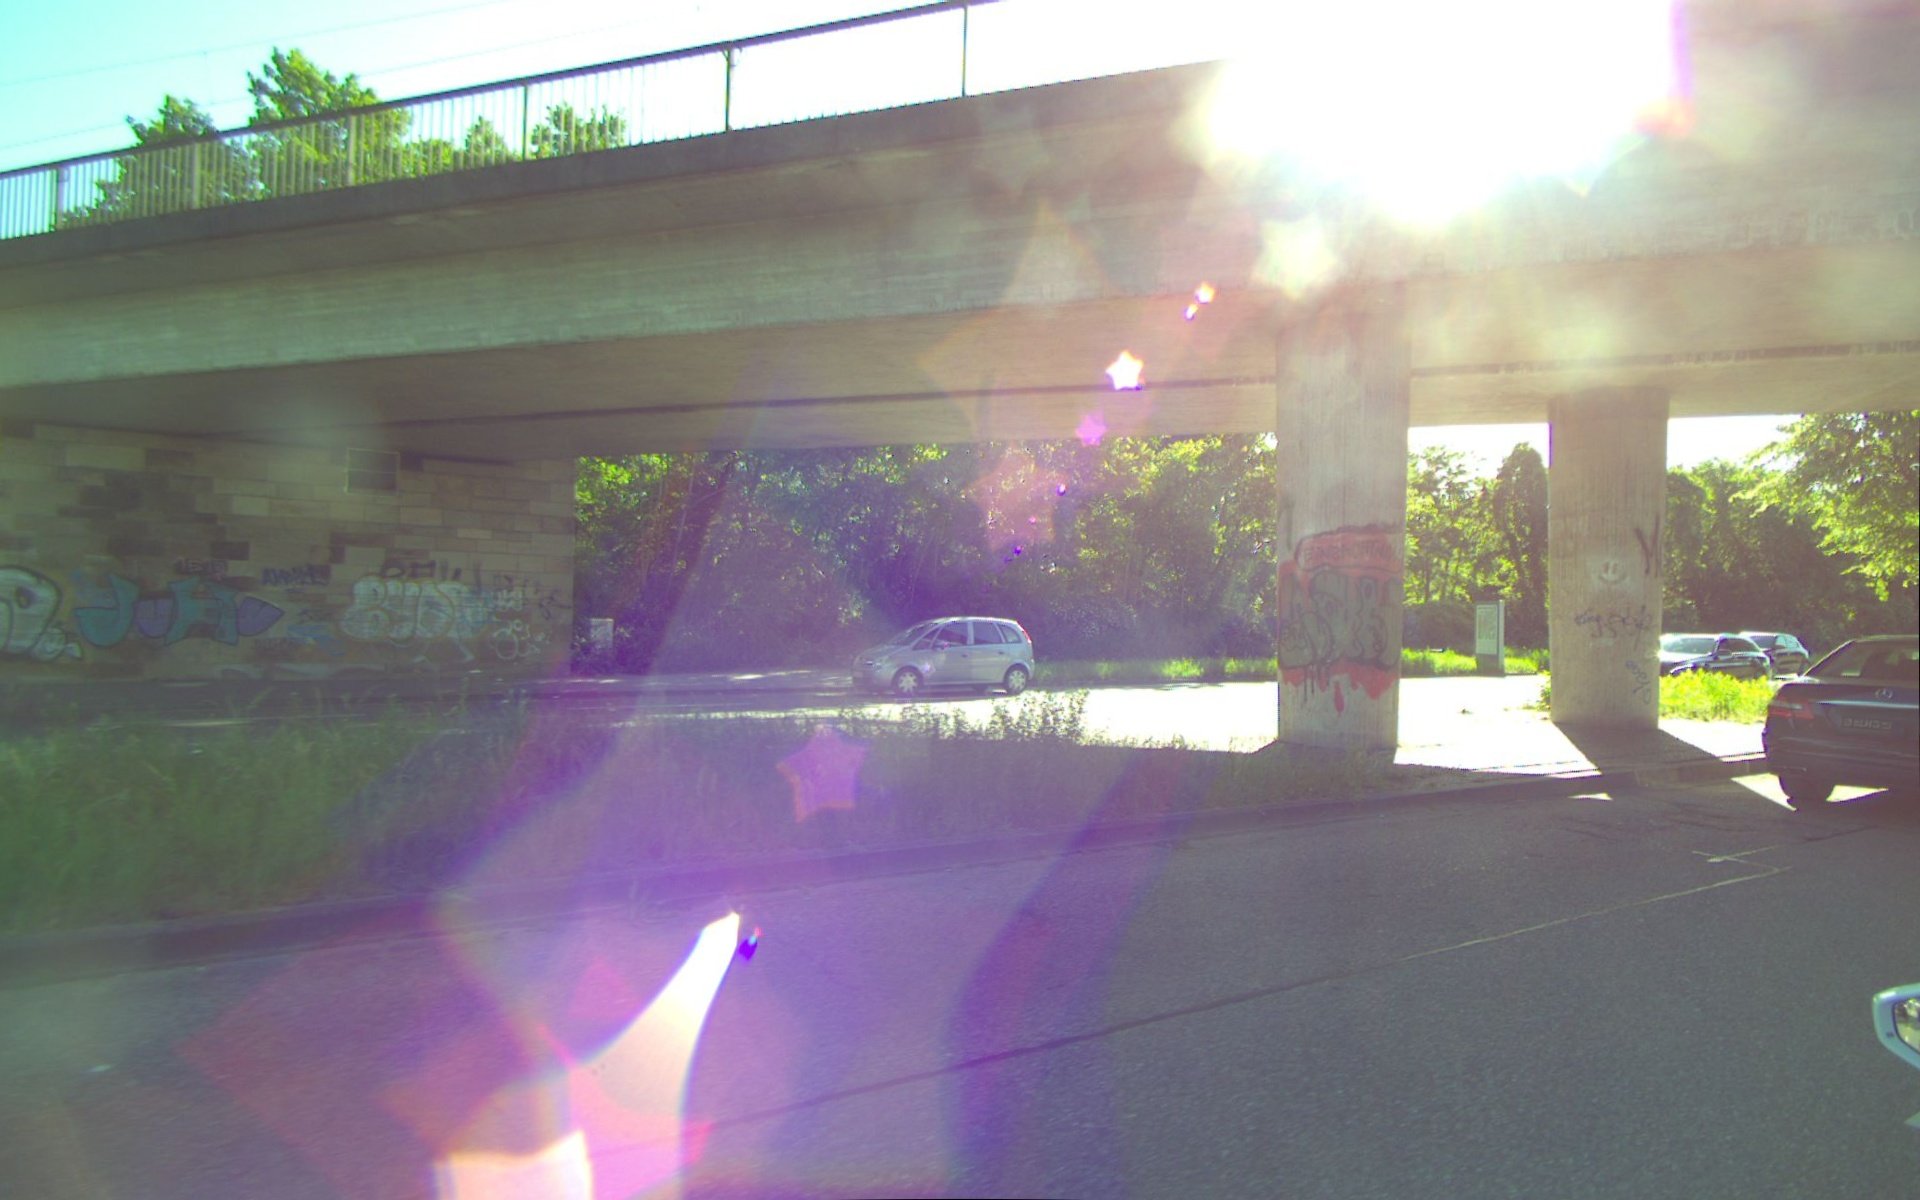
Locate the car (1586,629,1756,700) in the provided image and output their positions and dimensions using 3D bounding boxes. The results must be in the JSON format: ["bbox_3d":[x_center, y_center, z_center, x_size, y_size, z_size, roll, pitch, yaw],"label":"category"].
[{"bbox_3d":[17.037,1.539,24.040,3.953,1.563,1.834,2,-4,-30],"label":"car"}]

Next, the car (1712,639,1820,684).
[{"bbox_3d":[28.348,2.159,35.324,3.597,1.480,1.834,2,-2,-30],"label":"car"}]

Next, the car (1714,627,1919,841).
[{"bbox_3d":[8.856,1.043,8.699,4.859,1.502,1.950,2,-1,-30],"label":"car"}]

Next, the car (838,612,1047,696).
[{"bbox_3d":[-0.346,1.131,21.300,4.130,1.638,1.721,2,-2,-30],"label":"car"}]
